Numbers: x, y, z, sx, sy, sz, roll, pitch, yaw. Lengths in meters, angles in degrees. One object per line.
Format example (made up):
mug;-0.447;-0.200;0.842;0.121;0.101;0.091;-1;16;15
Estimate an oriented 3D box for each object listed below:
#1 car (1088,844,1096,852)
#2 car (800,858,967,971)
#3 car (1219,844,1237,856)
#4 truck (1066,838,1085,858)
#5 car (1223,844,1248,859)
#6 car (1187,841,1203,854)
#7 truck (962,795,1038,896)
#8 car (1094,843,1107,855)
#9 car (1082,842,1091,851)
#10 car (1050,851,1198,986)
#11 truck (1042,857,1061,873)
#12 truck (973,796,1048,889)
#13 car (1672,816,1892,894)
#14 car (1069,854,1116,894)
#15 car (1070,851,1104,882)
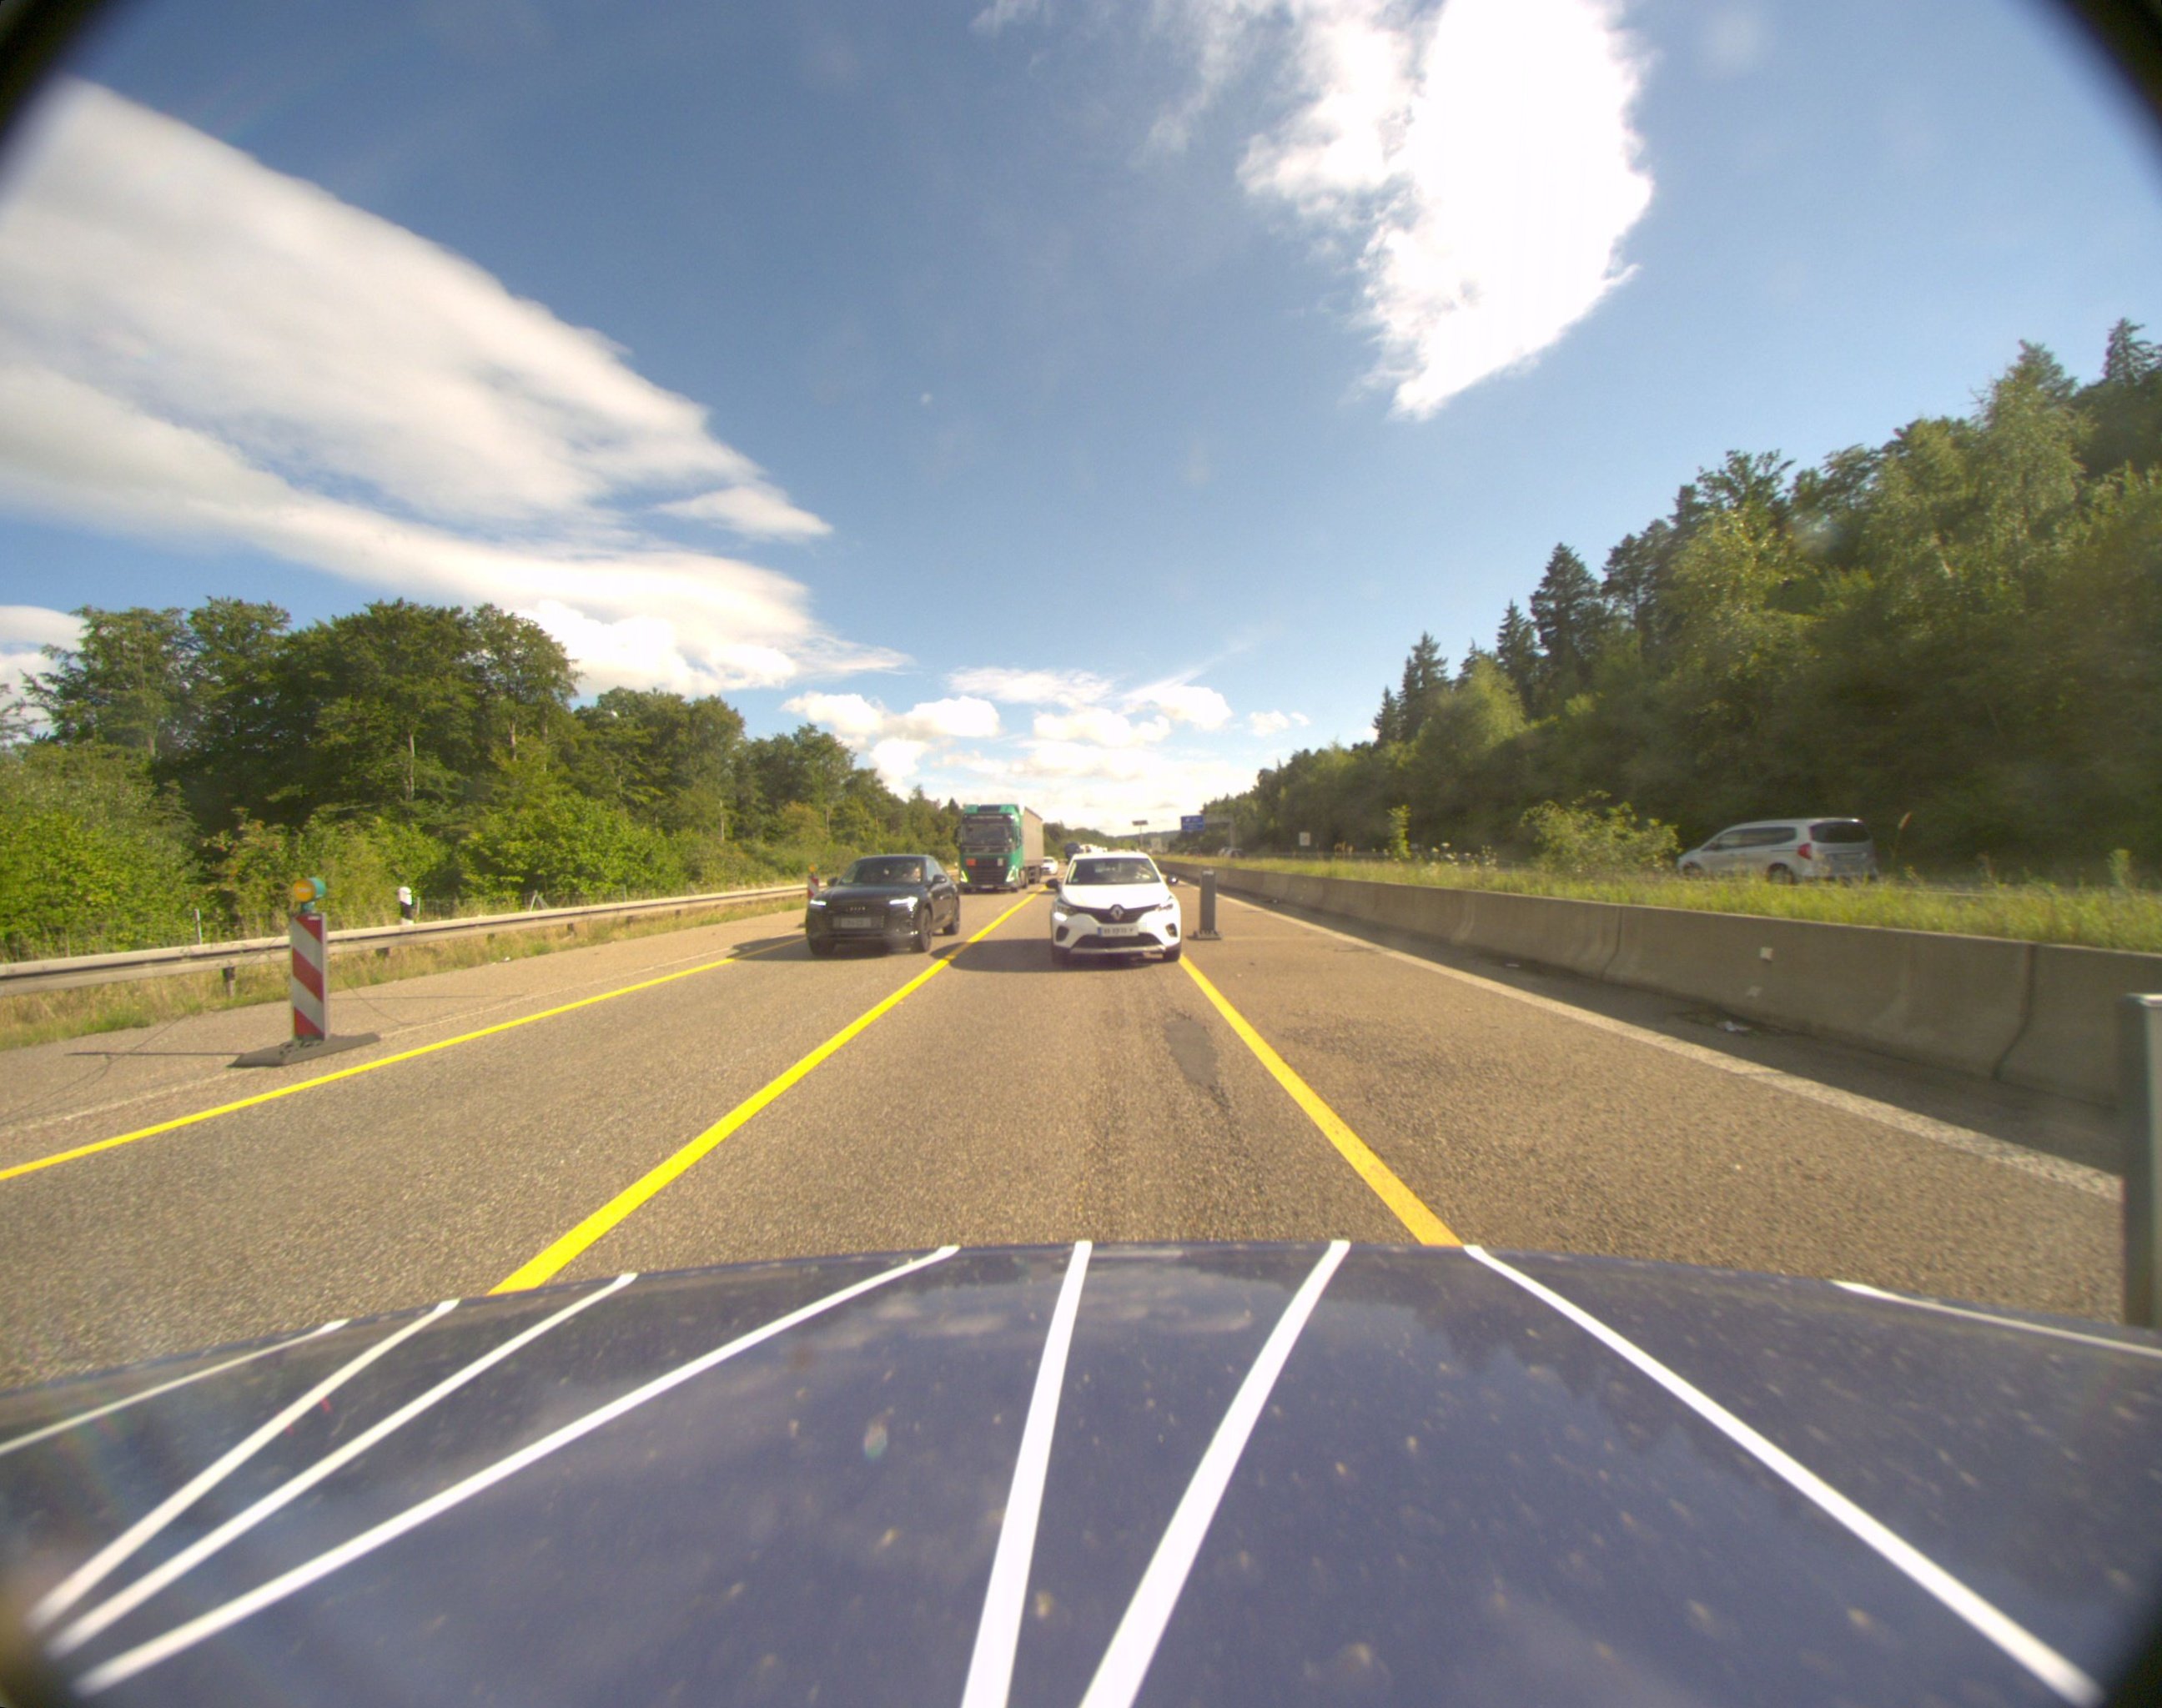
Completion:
car;2.602;-1.422;180.452;1.750;1.787;3.999;-2;1;0
car;-3.325;0.934;13.711;1.782;1.593;4.293;-2;1;1
car;21.587;-0.669;111.969;1.782;1.679;4.617;-2;1;1
truck;-0.876;-1.078;127.595;2.576;3.168;6.802;-2;1;3
car;16.507;-0.283;81.383;1.782;1.448;4.104;-2;1;1
car;18.090;-1.083;120.716;1.782;1.891;4.617;-2;1;1
truck;-3.522;-0.395;34.769;2.528;4.076;6.855;-2;1;0
car;3.311;-0.842;128.144;1.998;2.002;3.999;-2;1;1
car;1.188;-1.538;158.912;1.750;1.787;3.999;-2;1;0
car;0.554;0.791;11.441;1.782;1.593;4.017;-2;1;1
truck;-2.431;0.871;62.607;1.468;1.215;3.087;-2;1;-2
truck;-3.485;-0.501;41.218;2.470;4.119;14.210;-2;0;0
car;18.121;-0.004;19.987;1.782;1.775;4.364;-2;1;1
car;0.455;0.778;31.447;1.782;1.468;4.017;-2;1;1
car;0.343;0.660;42.966;1.782;1.593;4.017;-2;1;1
